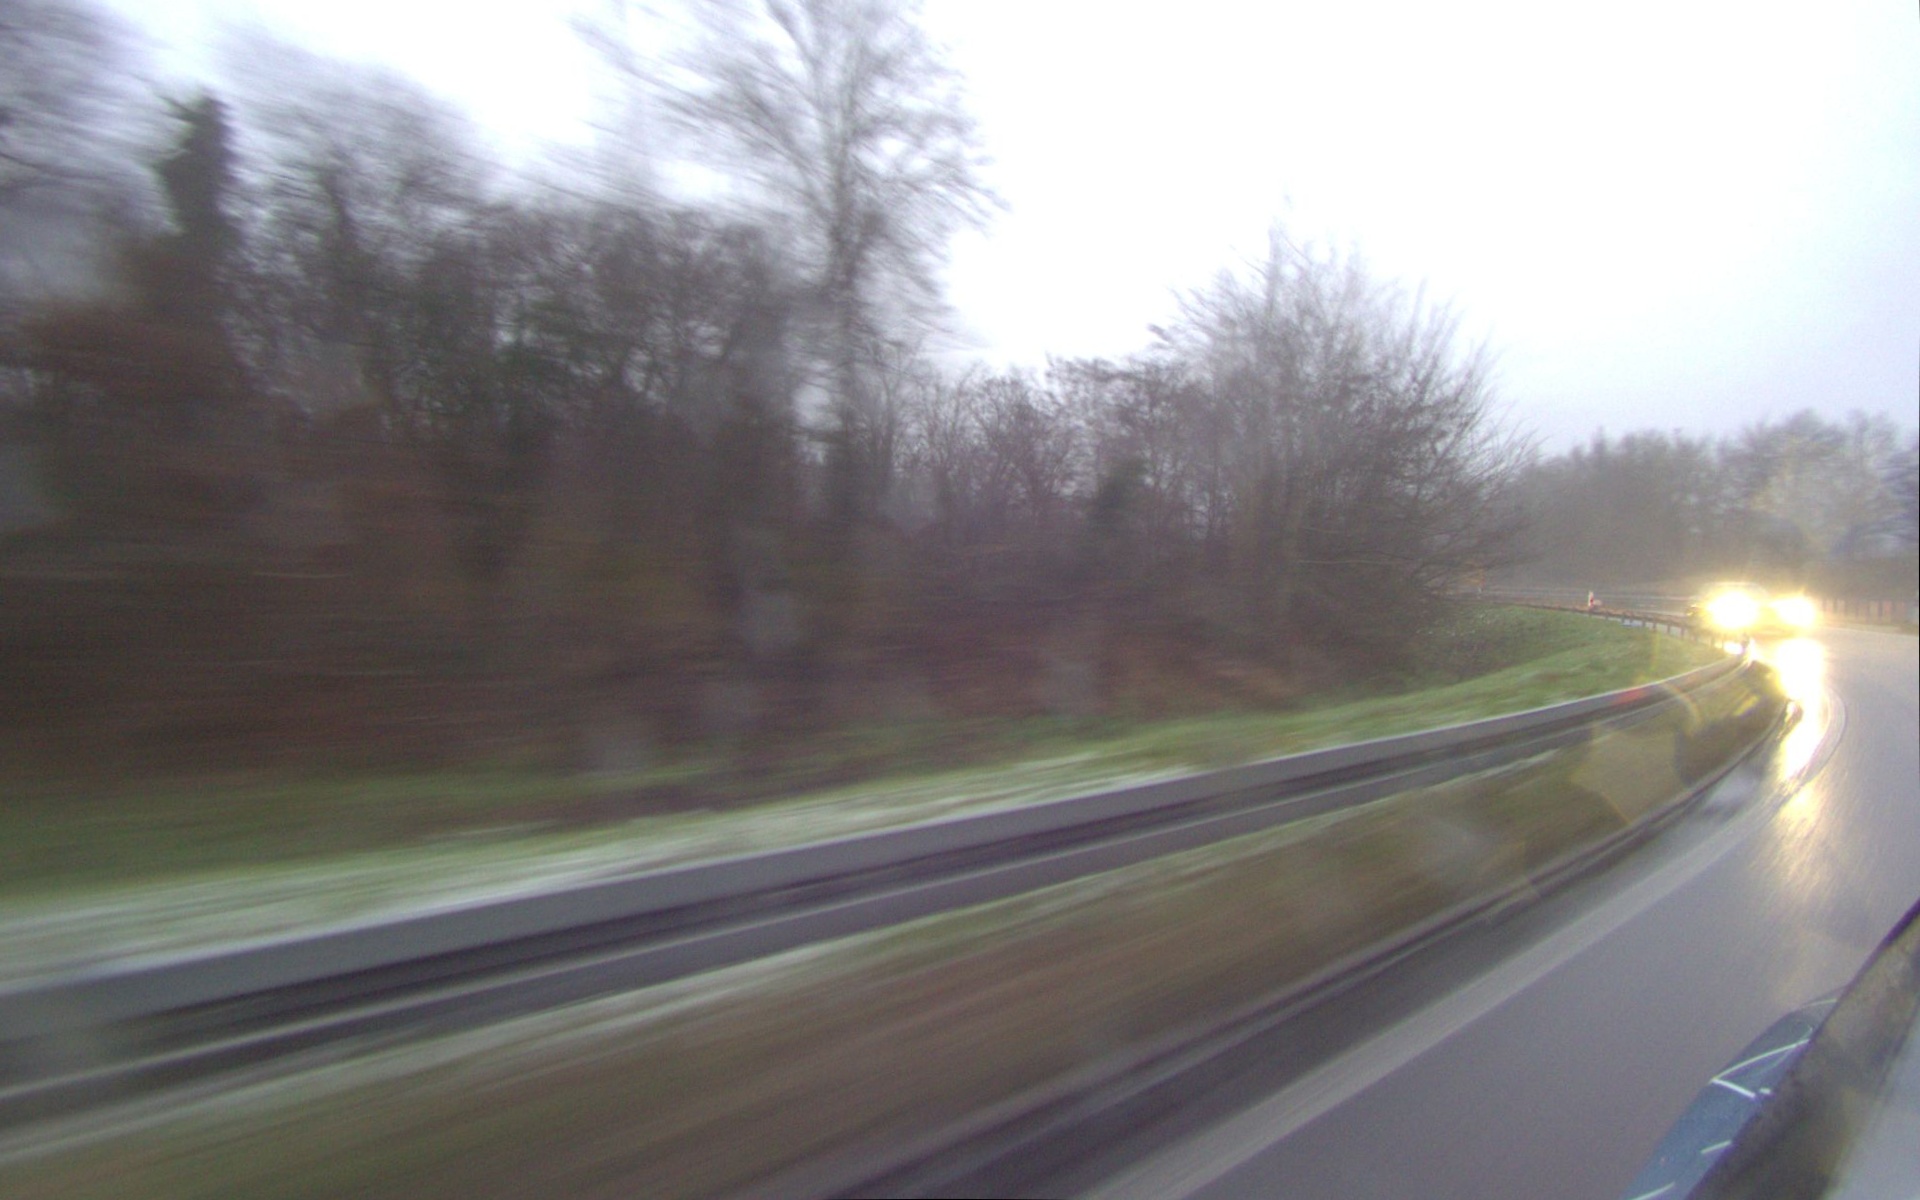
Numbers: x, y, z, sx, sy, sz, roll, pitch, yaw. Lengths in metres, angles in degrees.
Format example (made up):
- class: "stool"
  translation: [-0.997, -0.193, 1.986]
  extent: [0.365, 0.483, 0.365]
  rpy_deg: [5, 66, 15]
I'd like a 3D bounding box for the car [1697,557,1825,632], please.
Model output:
- class: "car"
  translation: [24.577, -0.165, 31.232]
  extent: [1.978, 2.038, 3.933]
  rpy_deg: [4, 1, 23]
